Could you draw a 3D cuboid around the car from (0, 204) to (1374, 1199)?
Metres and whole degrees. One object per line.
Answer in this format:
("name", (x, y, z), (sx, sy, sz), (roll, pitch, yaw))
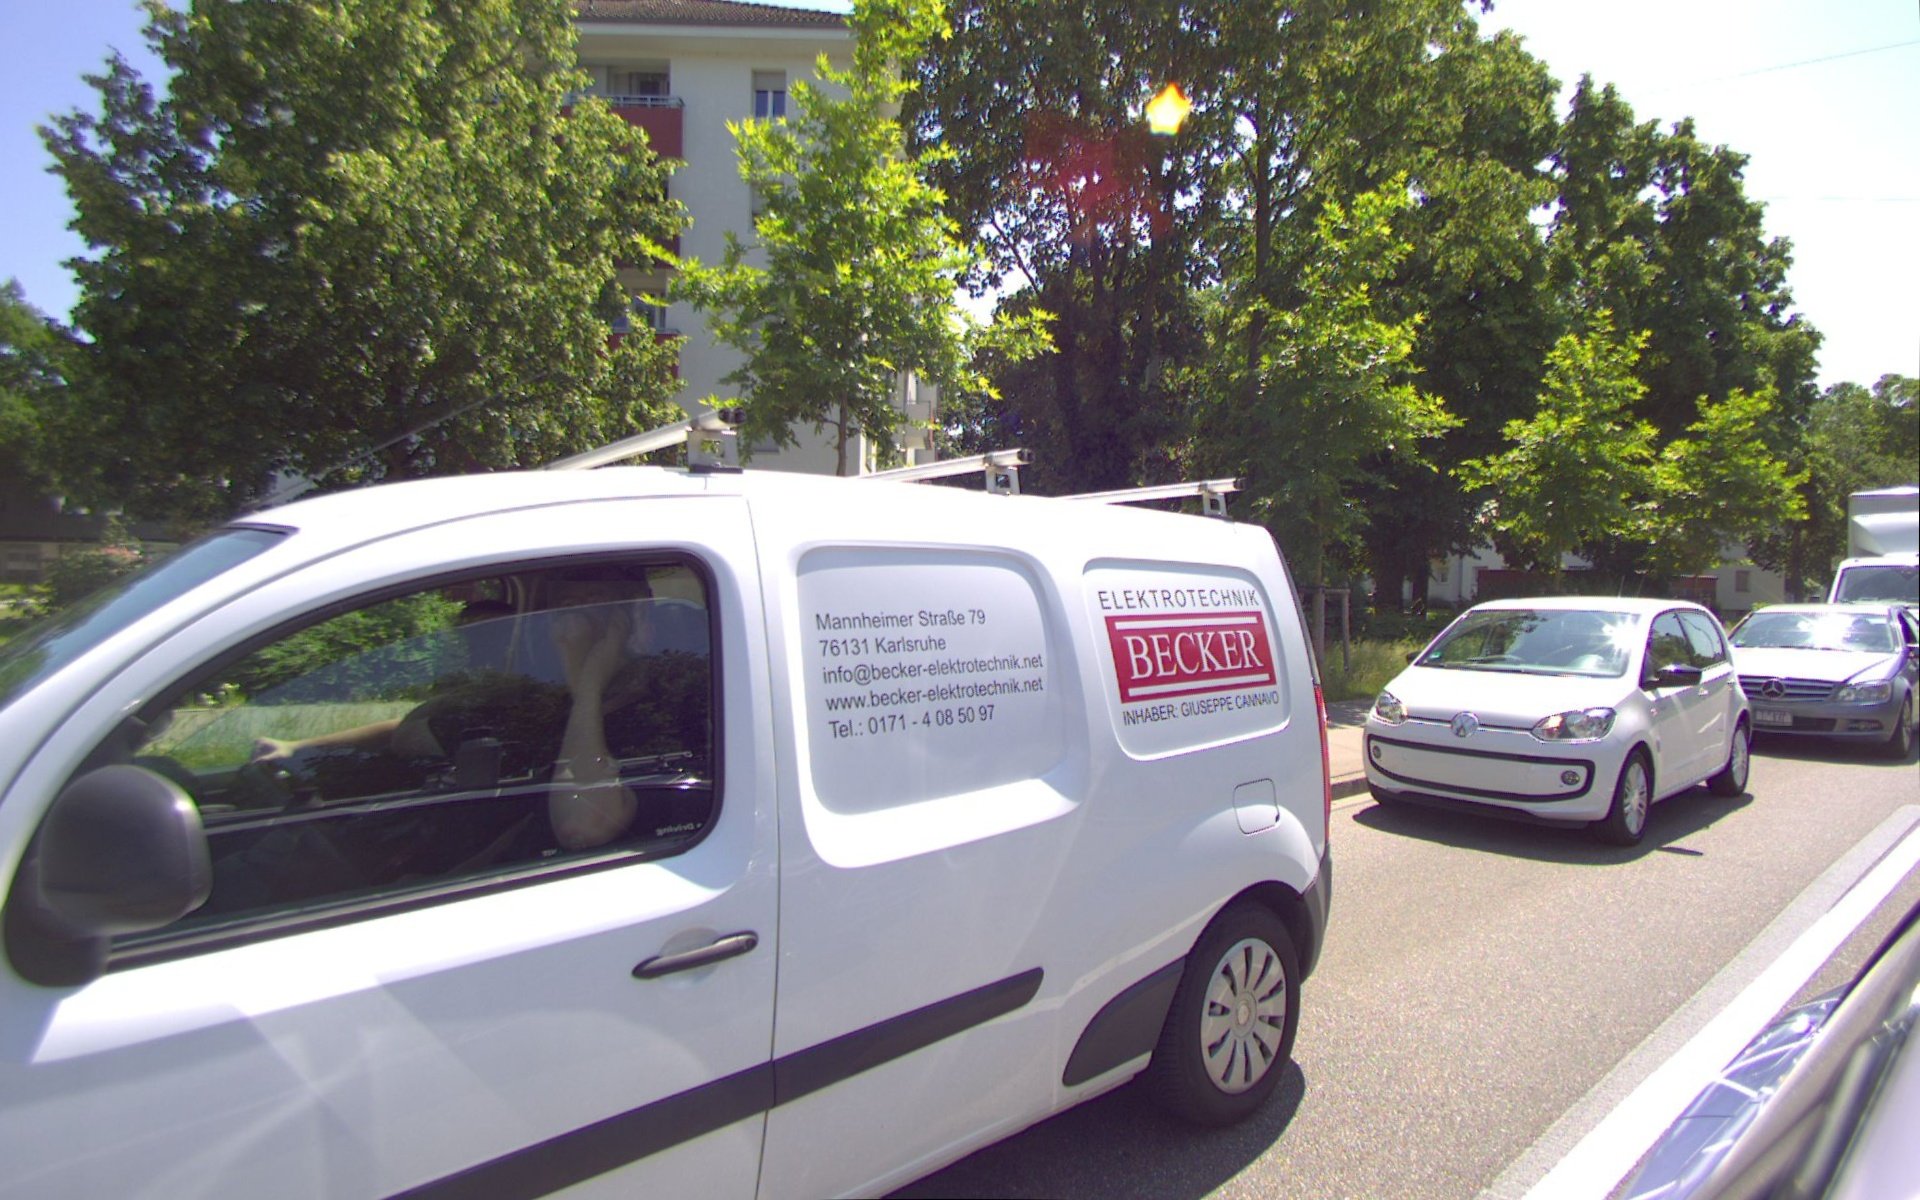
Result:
("car", (-0.997, 0.456, 2.532), (4.370, 1.849, 1.997), (0, 1, -41))

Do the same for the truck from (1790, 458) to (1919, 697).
("truck", (16.513, -0.335, 16.970), (7.778, 3.387, 2.434), (0, 1, -39))

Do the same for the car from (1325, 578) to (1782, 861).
("car", (4.396, 0.623, 7.286), (3.705, 1.497, 1.729), (0, 1, -41))

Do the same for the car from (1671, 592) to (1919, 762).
("car", (9.229, 0.656, 10.736), (4.016, 1.426, 1.839), (0, 1, -41))
